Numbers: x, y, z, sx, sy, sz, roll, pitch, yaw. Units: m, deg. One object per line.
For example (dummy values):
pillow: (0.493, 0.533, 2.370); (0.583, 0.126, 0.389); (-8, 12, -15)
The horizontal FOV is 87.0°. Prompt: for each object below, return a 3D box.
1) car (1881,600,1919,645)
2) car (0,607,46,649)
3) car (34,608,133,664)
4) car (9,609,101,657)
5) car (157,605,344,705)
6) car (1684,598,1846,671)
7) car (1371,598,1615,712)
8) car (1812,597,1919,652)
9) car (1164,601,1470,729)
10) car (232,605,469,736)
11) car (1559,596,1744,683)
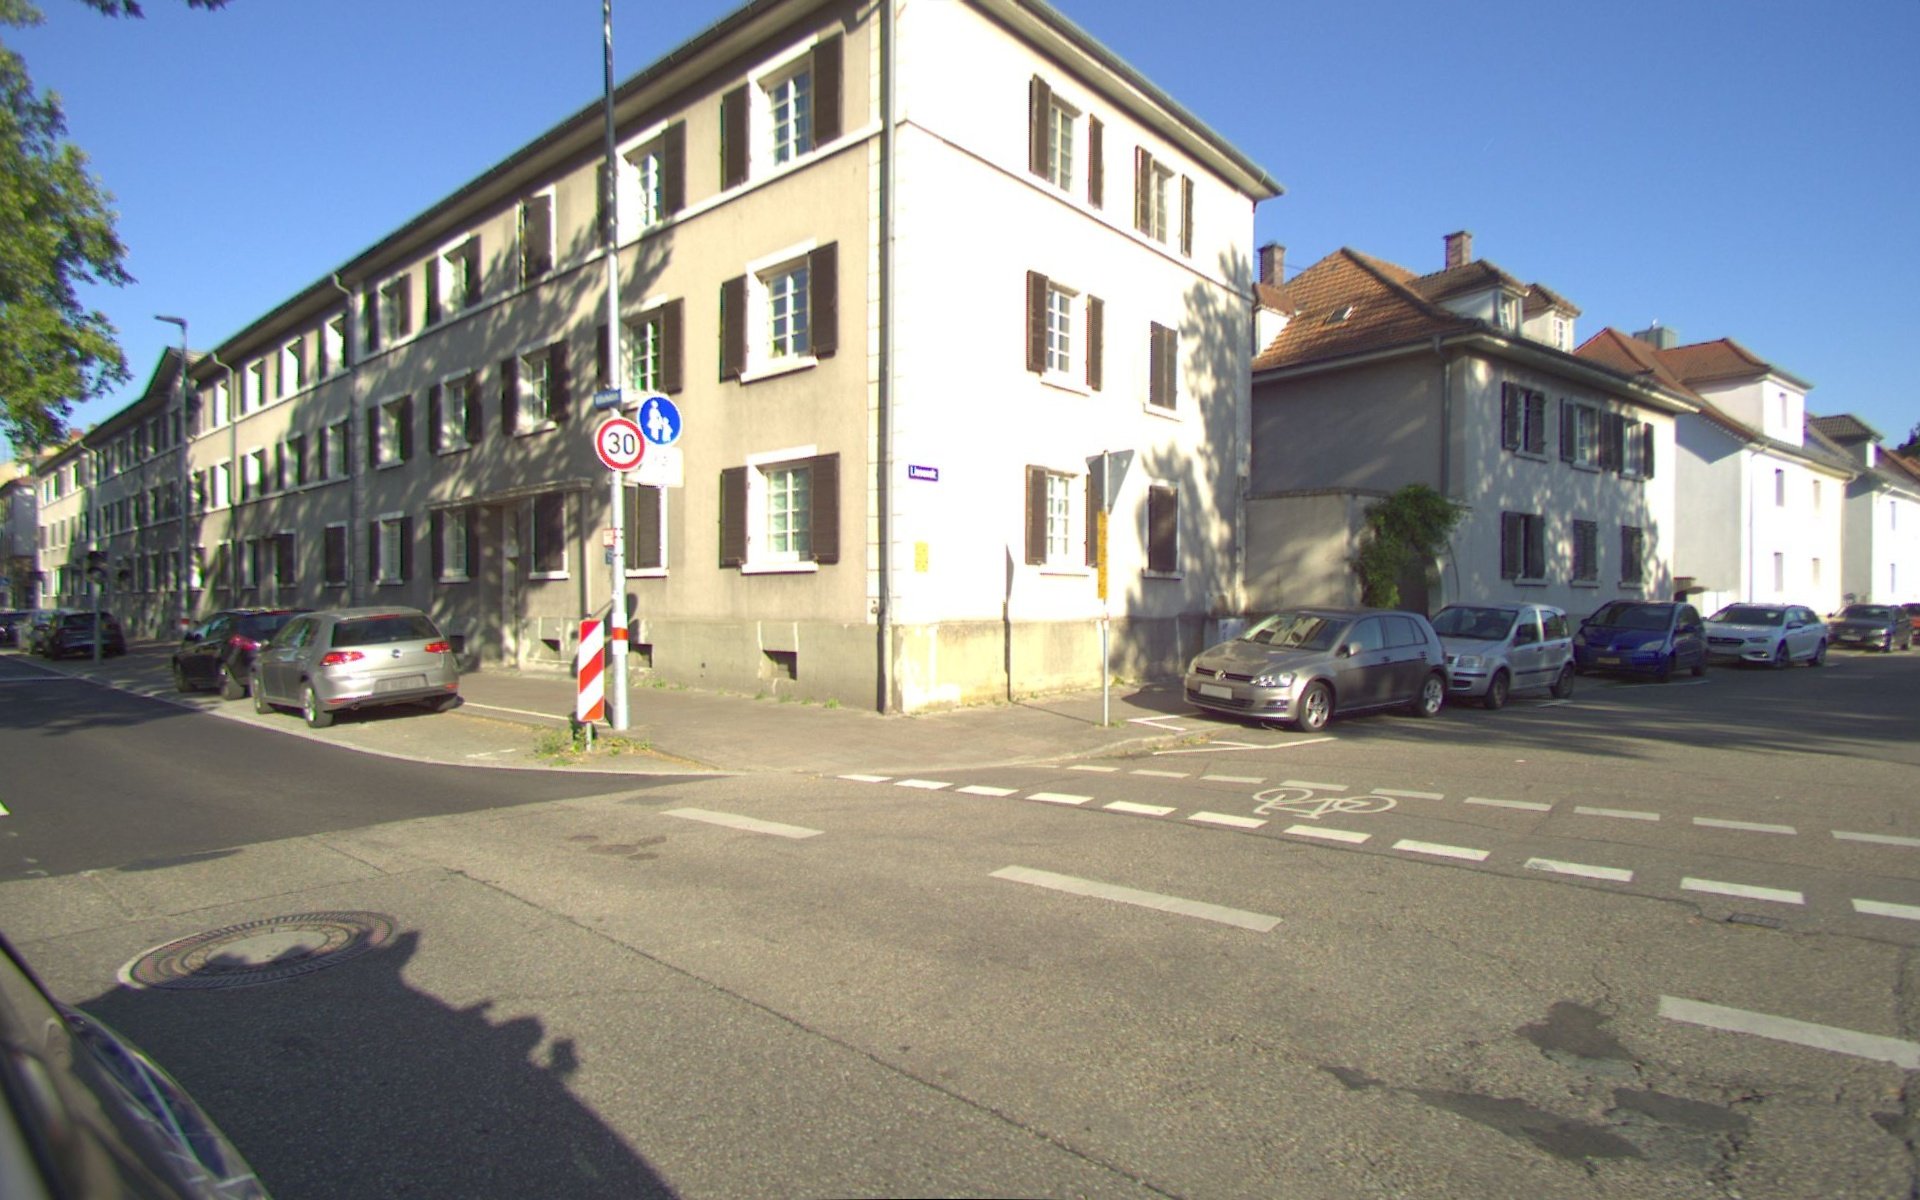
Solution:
car: (35.119, 0.794, 36.651); (3.934, 1.573, 1.869); (0, 0, -36)
car: (-38.925, 1.127, 41.315); (4.083, 1.624, 1.846); (-1, 1, 40)
car: (-26.920, 1.043, 31.030); (4.087, 1.494, 1.845); (0, 3, 43)
car: (-31.508, 1.096, 35.205); (4.084, 1.494, 1.846); (-1, 1, 41)
car: (-12.628, 0.893, 17.928); (4.050, 1.518, 1.689); (-1, 1, 40)
car: (19.227, 0.738, 24.114); (4.603, 1.573, 1.869); (0, 1, -36)
car: (8.466, 0.767, 15.980); (3.934, 1.573, 1.869); (0, 0, -36)
car: (28.833, 0.742, 32.122); (3.934, 1.573, 1.869); (-1, 0, -36)
car: (4.759, 0.737, 13.327); (3.934, 1.429, 1.919); (0, 0, -36)
car: (-8.555, 0.847, 14.050); (4.108, 1.494, 1.742); (0, 2, 43)
car: (13.899, 0.725, 20.293); (3.934, 1.573, 1.869); (0, 0, -36)
